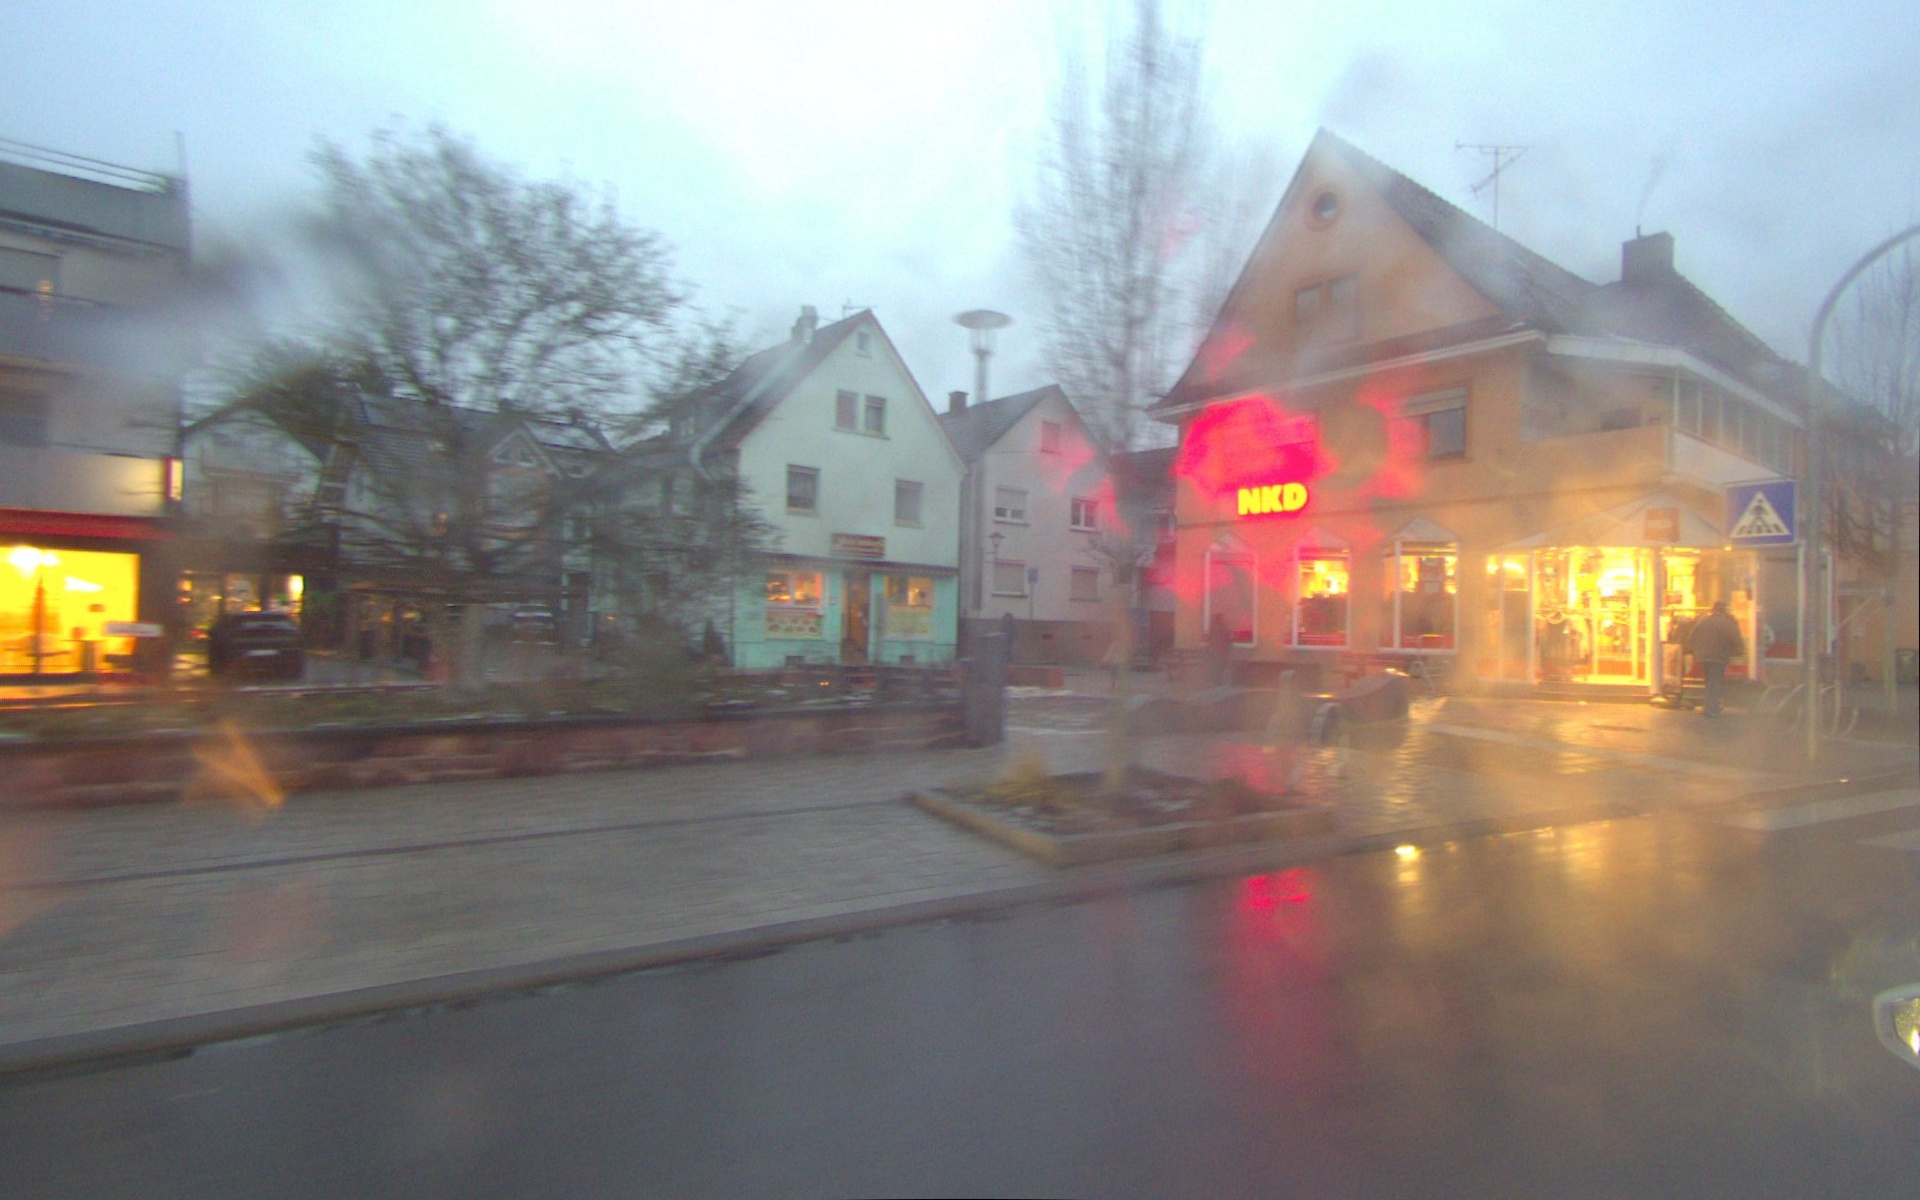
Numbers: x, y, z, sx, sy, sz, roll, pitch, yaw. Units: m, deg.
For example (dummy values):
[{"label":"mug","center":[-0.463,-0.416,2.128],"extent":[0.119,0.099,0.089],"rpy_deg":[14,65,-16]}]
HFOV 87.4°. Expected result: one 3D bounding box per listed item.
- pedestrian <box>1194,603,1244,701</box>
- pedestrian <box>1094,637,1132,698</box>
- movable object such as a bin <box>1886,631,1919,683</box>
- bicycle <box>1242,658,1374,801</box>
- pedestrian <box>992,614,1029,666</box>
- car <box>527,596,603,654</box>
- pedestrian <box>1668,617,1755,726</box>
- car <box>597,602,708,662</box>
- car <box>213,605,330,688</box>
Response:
[{"label":"pedestrian","center":[5.593,1.108,21.749],"extent":[0.723,2.040,0.824],"rpy_deg":[1,1,-10]},{"label":"pedestrian","center":[3.399,1.494,22.393],"extent":[0.674,1.262,0.826],"rpy_deg":[2,1,-1]},{"label":"movable object such as a bin","center":[25.758,1.538,27.008],"extent":[0.844,1.372,1.141],"rpy_deg":[1,0,-39]},{"label":"bicycle","center":[3.101,1.093,8.858],"extent":[0.321,1.075,1.733],"rpy_deg":[-6,-4,44]},{"label":"pedestrian","center":[1.726,1.343,34.137],"extent":[0.834,1.738,0.908],"rpy_deg":[1,0,-42]},{"label":"car","center":[-13.651,0.817,34.674],"extent":[1.555,1.882,3.276],"rpy_deg":[1,0,-38]},{"label":"pedestrian","center":[12.276,1.146,16.412],"extent":[1.087,1.680,0.820],"rpy_deg":[1,1,-36]},{"label":"car","center":[-9.111,0.909,29.581],"extent":[1.966,1.624,3.960],"rpy_deg":[1,-1,-36]},{"label":"car","center":[-16.974,1.116,24.685],"extent":[1.984,1.868,3.954],"rpy_deg":[2,-2,-40]}]
